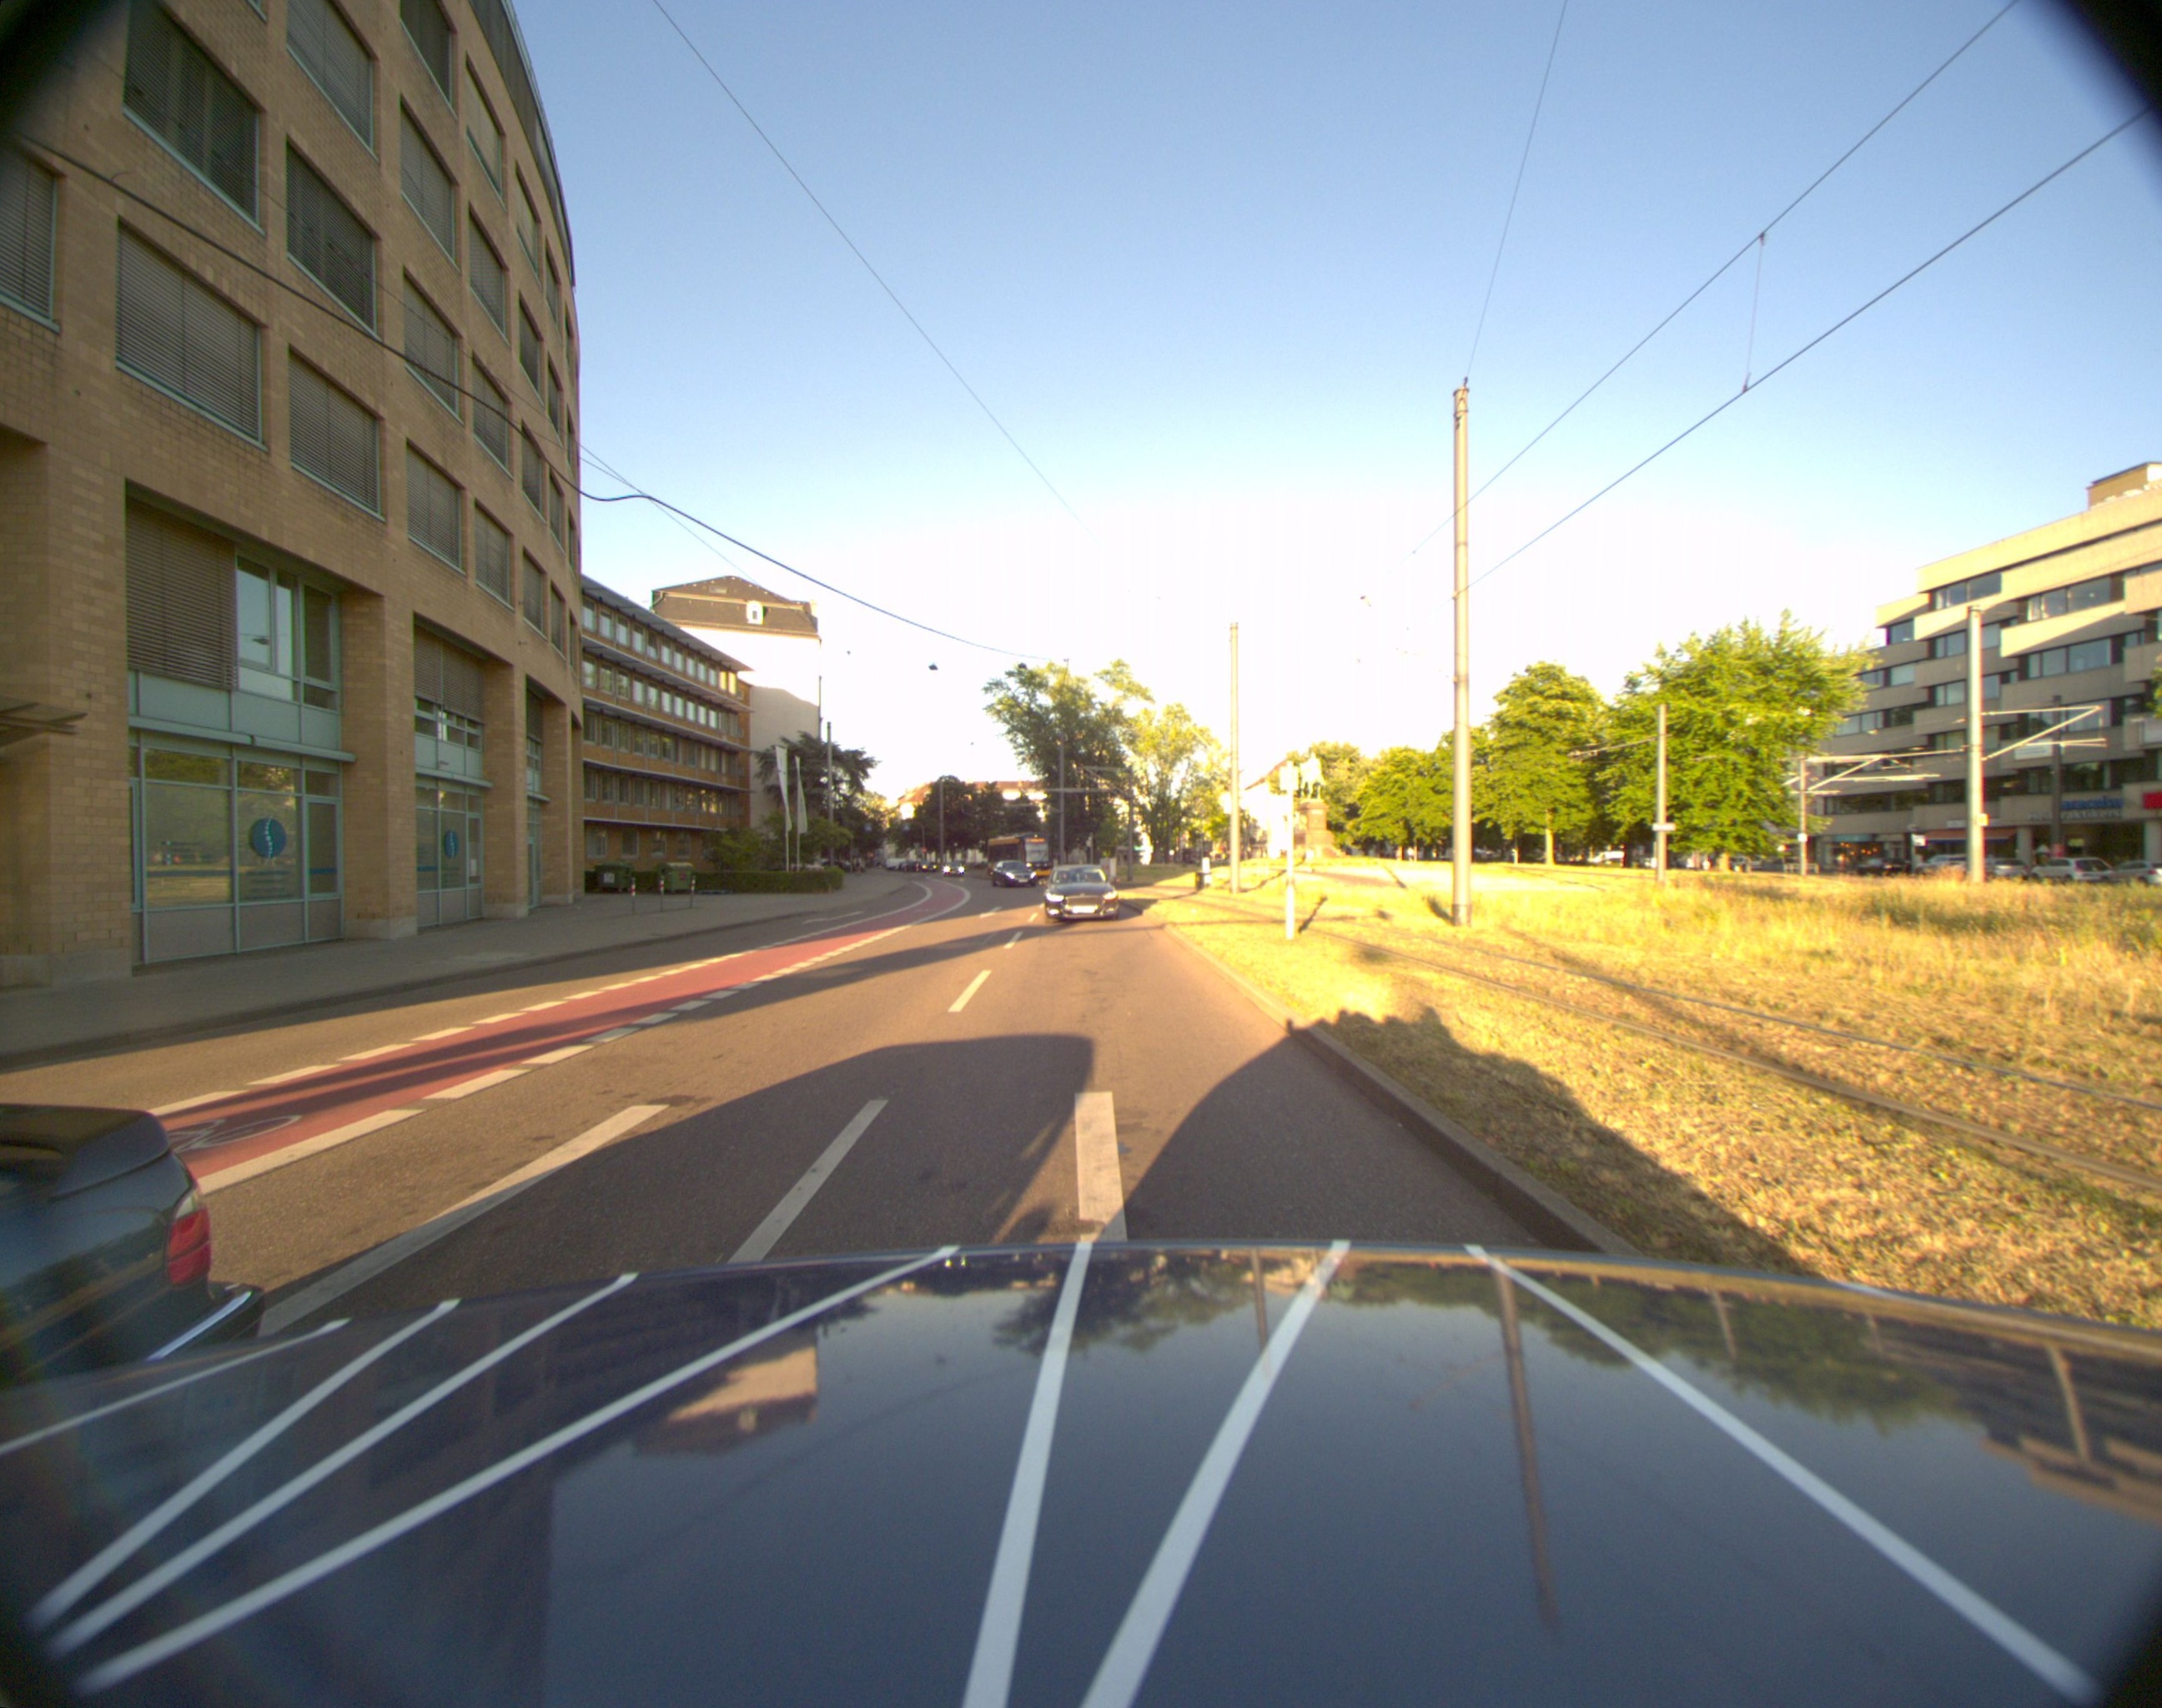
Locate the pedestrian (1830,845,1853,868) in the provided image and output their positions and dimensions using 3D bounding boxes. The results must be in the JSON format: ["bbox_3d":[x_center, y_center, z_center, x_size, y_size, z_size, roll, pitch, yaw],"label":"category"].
[{"bbox_3d":[66.641,0.240,66.601,1.138,2.023,0.892,-1,1,3],"label":"pedestrian"}]

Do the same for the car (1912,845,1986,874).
[{"bbox_3d":[61.329,0.378,53.772,1.995,1.925,4.007,-1,0,24],"label":"car"}]

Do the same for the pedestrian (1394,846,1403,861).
[{"bbox_3d":[35.983,-0.021,86.103,0.711,1.660,0.635,-1,1,1],"label":"pedestrian"}]

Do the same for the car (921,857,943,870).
[{"bbox_3d":[-17.143,1.086,87.531,1.759,1.379,3.999,-4,0,-1],"label":"car"}]

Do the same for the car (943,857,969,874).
[{"bbox_3d":[-11.909,1.072,72.109,2.001,1.453,4.138,-1,0,-15],"label":"car"}]

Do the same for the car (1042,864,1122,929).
[{"bbox_3d":[0.071,1.036,20.406,1.890,1.477,4.725,0,0,1],"label":"car"}]

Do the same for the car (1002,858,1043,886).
[{"bbox_3d":[-3.380,1.020,44.703,1.897,1.526,4.705,-1,0,1],"label":"car"}]

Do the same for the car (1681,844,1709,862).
[{"bbox_3d":[72.076,-0.158,89.244,1.995,2.002,4.007,-2,1,32],"label":"car"}]

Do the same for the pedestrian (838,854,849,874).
[{"bbox_3d":[-21.360,0.908,68.415,0.728,1.797,0.724,-1,1,1],"label":"pedestrian"}]

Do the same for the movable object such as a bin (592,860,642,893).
[{"bbox_3d":[-21.191,1.028,34.745,1.427,1.450,1.332,-1,0,-2],"label":"movable object such as a bin"}]

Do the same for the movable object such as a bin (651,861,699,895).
[{"bbox_3d":[-18.277,1.056,34.237,1.427,1.450,1.332,-1,0,-3],"label":"movable object such as a bin"}]

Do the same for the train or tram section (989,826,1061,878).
[{"bbox_3d":[-4.744,-0.140,60.596,2.920,3.717,13.199,-1,0,-16],"label":"train or tram section"}]

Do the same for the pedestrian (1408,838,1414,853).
[{"bbox_3d":[37.221,-0.926,85.705,0.535,1.684,0.512,-1,1,1],"label":"pedestrian"}]

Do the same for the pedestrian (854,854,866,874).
[{"bbox_3d":[-20.786,0.930,71.510,0.913,1.883,1.124,-1,1,-27],"label":"pedestrian"}]

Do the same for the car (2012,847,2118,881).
[{"bbox_3d":[56.310,0.555,43.587,1.995,1.868,4.006,-1,0,22],"label":"car"}]

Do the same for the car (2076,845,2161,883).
[{"bbox_3d":[54.158,0.491,39.041,1.921,1.853,4.006,-1,0,23],"label":"car"}]

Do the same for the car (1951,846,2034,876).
[{"bbox_3d":[58.825,0.431,49.140,1.995,1.868,4.007,0,0,27],"label":"car"}]

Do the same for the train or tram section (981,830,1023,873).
[{"bbox_3d":[-7.645,-0.231,72.371,2.887,3.717,12.171,-1,0,-11],"label":"train or tram section"}]

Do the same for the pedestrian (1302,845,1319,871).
[{"bbox_3d":[15.350,0.245,50.815,0.891,1.718,0.797,-1,1,1],"label":"pedestrian"}]
